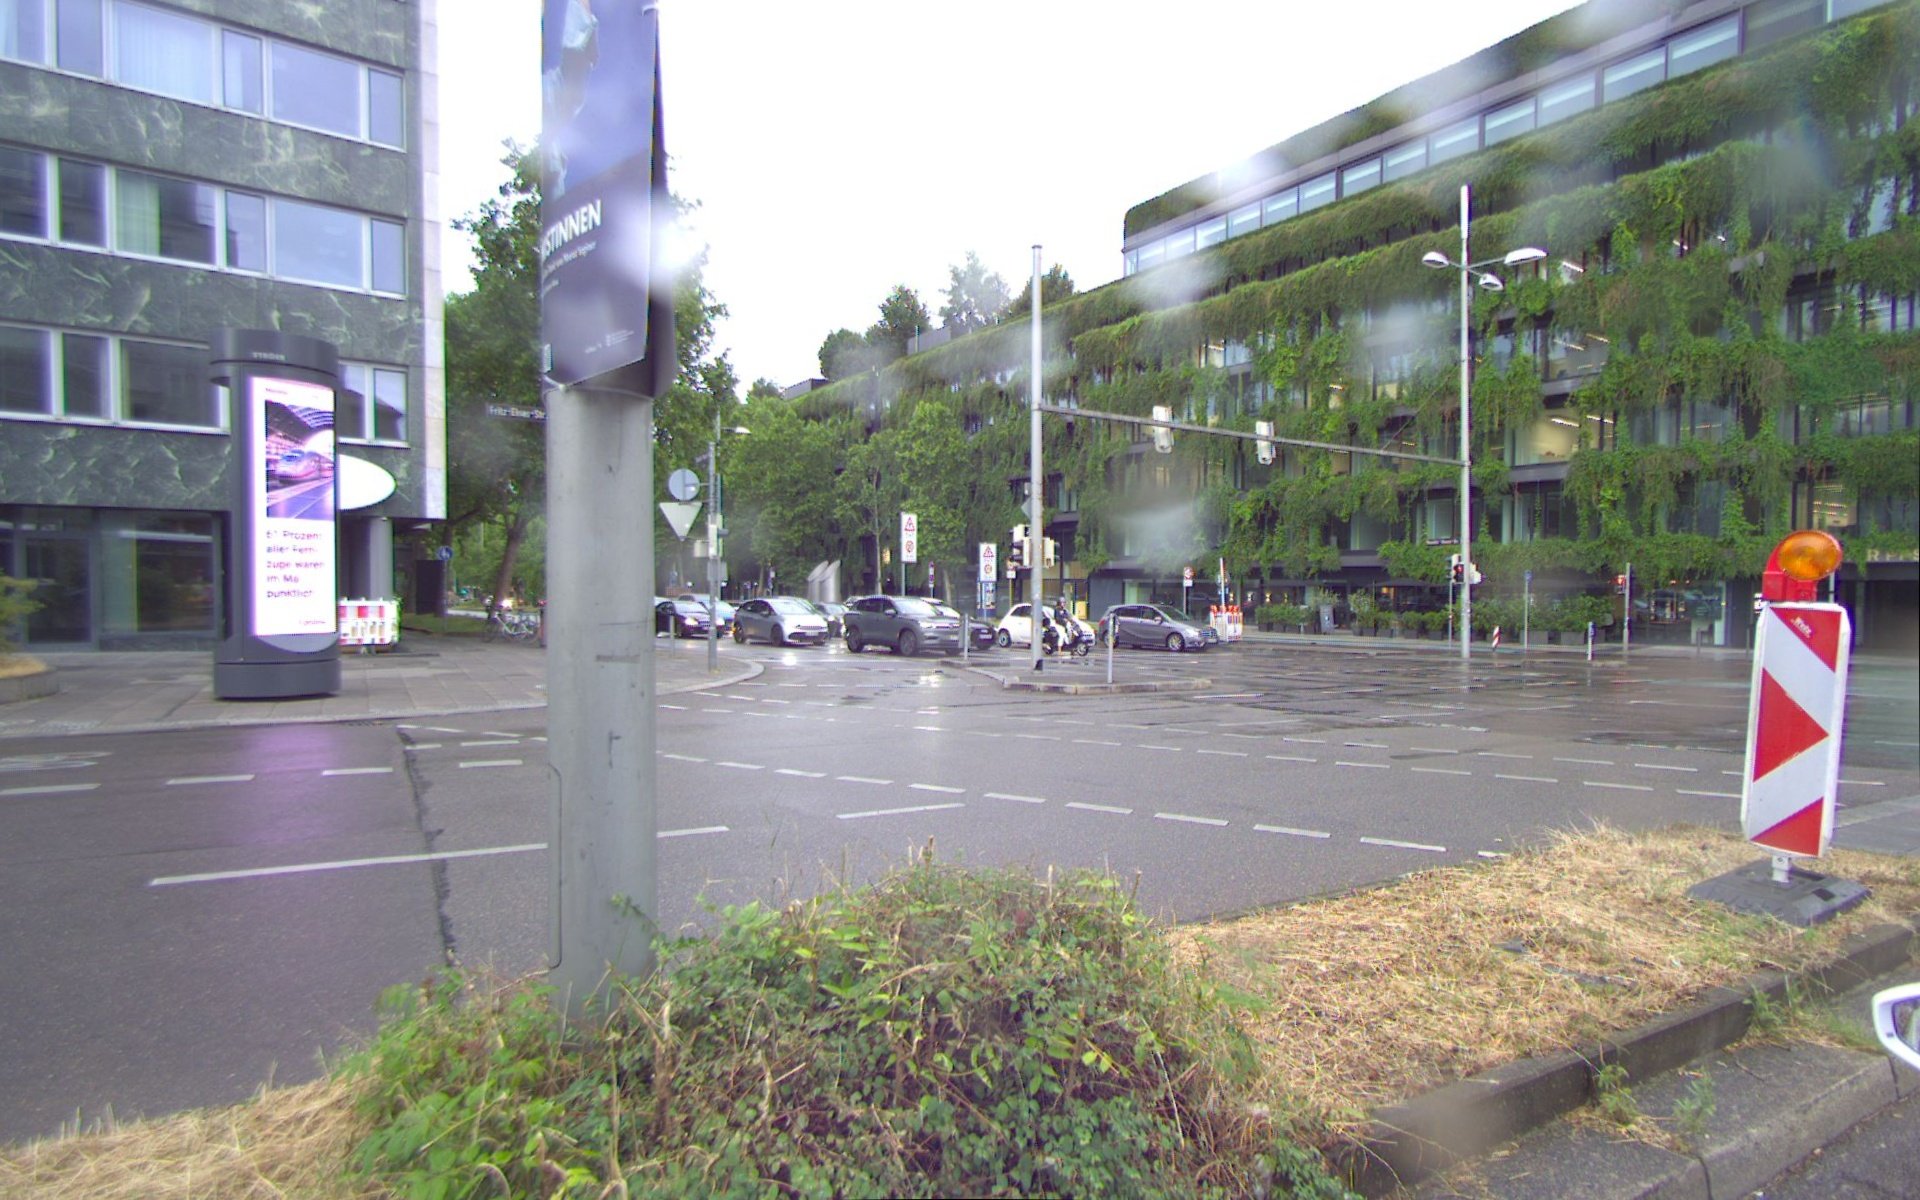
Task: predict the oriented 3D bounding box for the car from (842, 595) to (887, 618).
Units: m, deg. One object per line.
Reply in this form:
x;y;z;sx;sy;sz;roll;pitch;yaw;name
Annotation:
-7.363;0.488;77.249;1.783;1.588;3.962;2;0;-34;car

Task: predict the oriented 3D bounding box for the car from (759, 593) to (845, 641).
-6.289;0.656;39.673;1.841;1.791;4.139;1;0;-32;car

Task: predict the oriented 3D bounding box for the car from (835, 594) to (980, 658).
-1.607;0.701;29.168;1.984;1.709;4.314;1;0;-41;car

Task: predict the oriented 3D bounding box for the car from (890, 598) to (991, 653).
-0.794;0.916;37.908;1.978;1.923;4.139;1;0;-33;car

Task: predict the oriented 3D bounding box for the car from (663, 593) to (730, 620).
-13.926;0.336;52.928;1.982;1.389;4.131;1;0;-37;car

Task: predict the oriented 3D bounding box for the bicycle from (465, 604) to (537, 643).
-12.973;0.663;28.415;1.765;1.066;0.581;1;0;-35;bicycle

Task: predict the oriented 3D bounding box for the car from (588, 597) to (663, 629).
-15.032;0.565;45.039;1.982;1.389;4.131;1;0;-37;car

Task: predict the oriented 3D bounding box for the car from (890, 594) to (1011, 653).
-0.360;0.709;32.510;1.981;1.773;3.958;1;0;-37;car

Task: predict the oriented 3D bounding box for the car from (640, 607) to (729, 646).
-10.898;1.003;39.628;1.982;1.389;4.131;1;0;-37;car

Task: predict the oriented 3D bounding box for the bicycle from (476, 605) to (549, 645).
-12.325;0.679;27.682;1.765;1.066;0.581;1;0;-35;bicycle

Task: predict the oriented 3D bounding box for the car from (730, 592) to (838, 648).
-6.015;0.644;34.038;1.982;1.773;3.956;1;0;-38;car

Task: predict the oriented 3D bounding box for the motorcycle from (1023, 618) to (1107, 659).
3.024;1.106;29.083;2.331;1.068;0.830;2;0;41;motorcycle

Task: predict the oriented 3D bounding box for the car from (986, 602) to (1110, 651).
2.876;0.856;33.468;1.981;1.495;3.958;1;0;-37;car

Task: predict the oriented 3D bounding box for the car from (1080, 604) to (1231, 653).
6.622;0.934;34.413;4.842;1.508;1.922;1;0;45;car

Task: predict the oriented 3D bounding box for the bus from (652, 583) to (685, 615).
-32.016;-0.156;110.237;1.783;3.385;5.922;2;0;-34;bus

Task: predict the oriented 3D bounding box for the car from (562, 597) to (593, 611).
-45.420;0.465;119.254;1.919;1.508;4.849;1;0;-41;car

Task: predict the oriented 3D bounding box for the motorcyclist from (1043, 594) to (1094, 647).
3.130;0.581;29.002;1.153;1.492;0.832;2;0;40;motorcyclist

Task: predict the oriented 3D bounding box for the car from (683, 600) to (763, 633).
-10.672;0.697;45.025;1.982;1.389;4.131;1;0;-37;car
